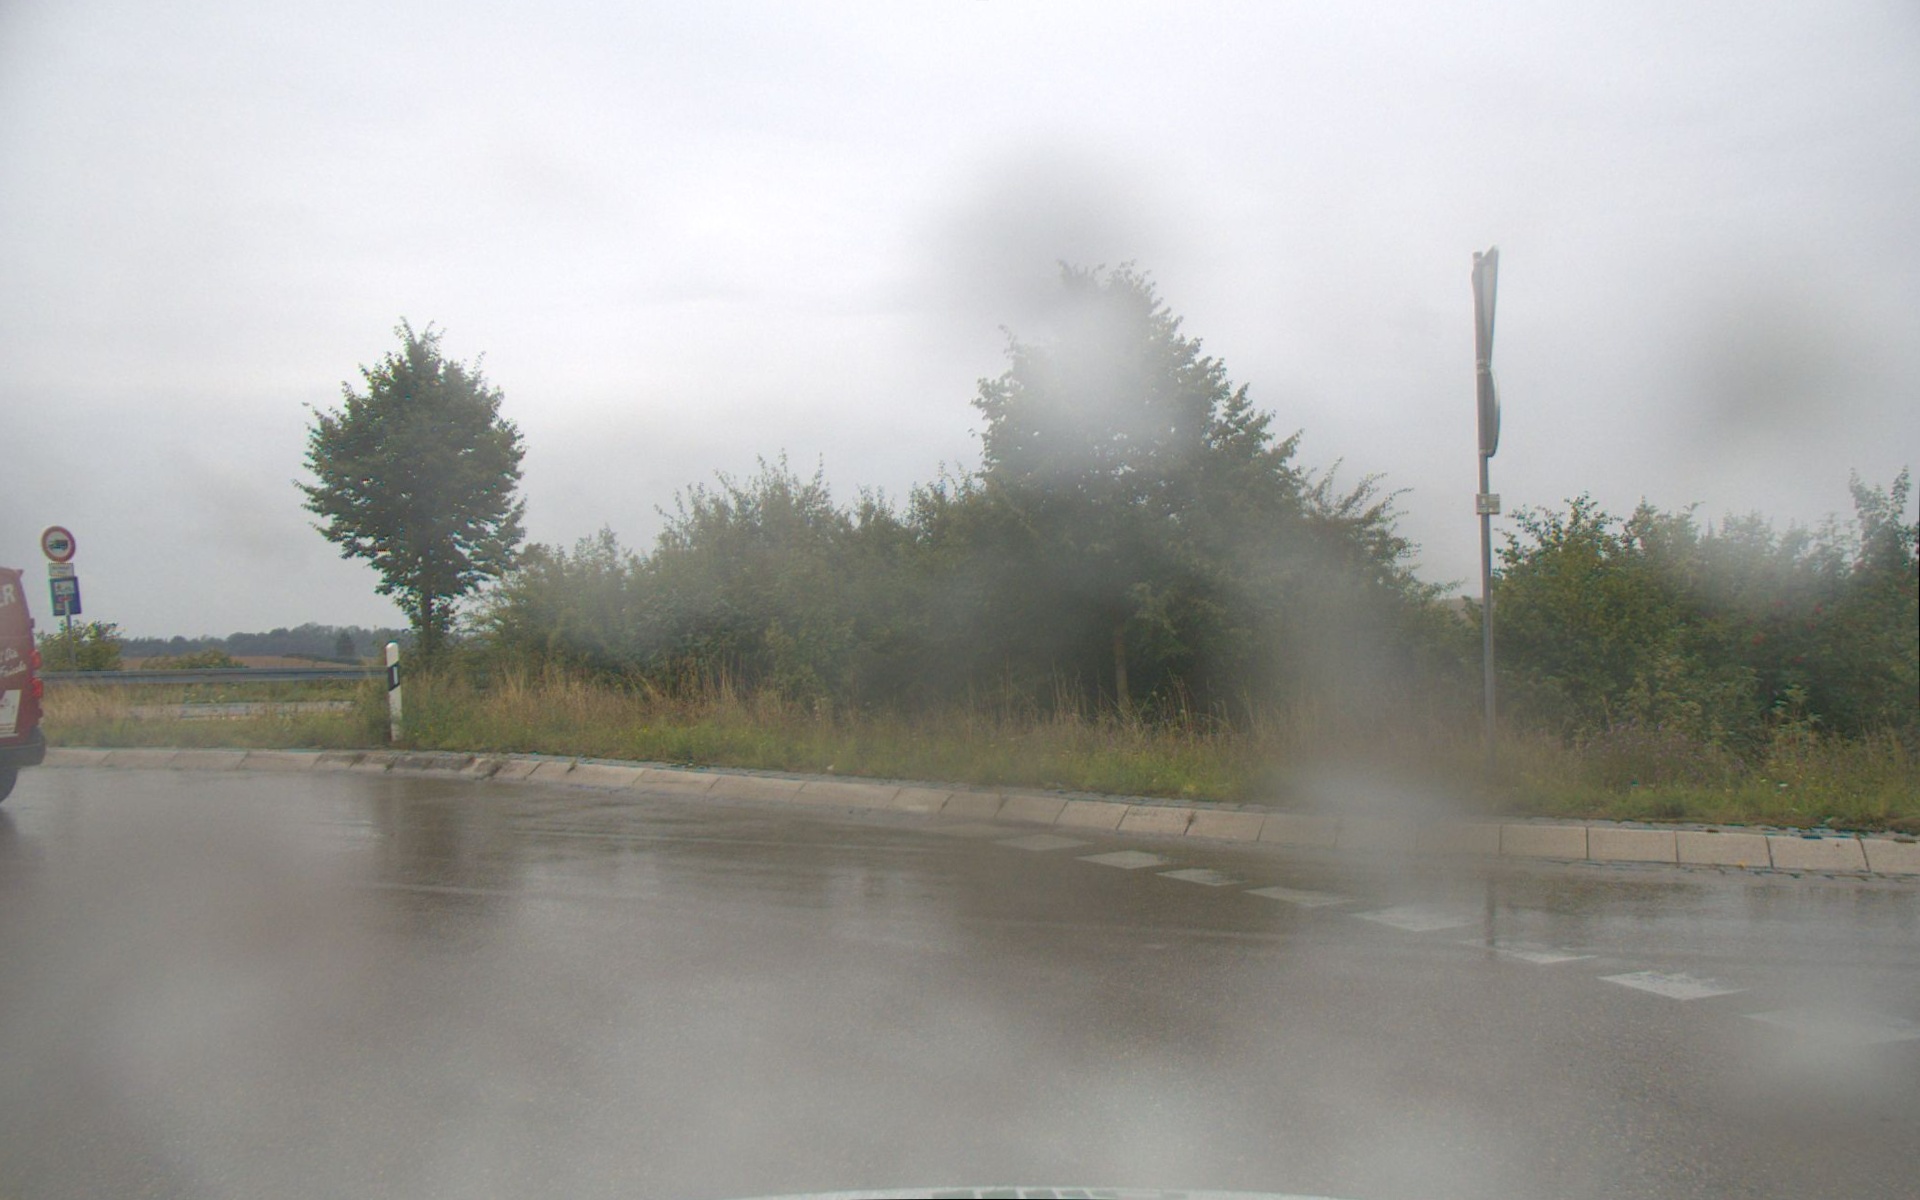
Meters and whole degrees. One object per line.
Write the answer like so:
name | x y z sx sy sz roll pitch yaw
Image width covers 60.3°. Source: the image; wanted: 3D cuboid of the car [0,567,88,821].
car | -9.585 0.736 12.914 4.857 1.903 2.001 -1 0 16
